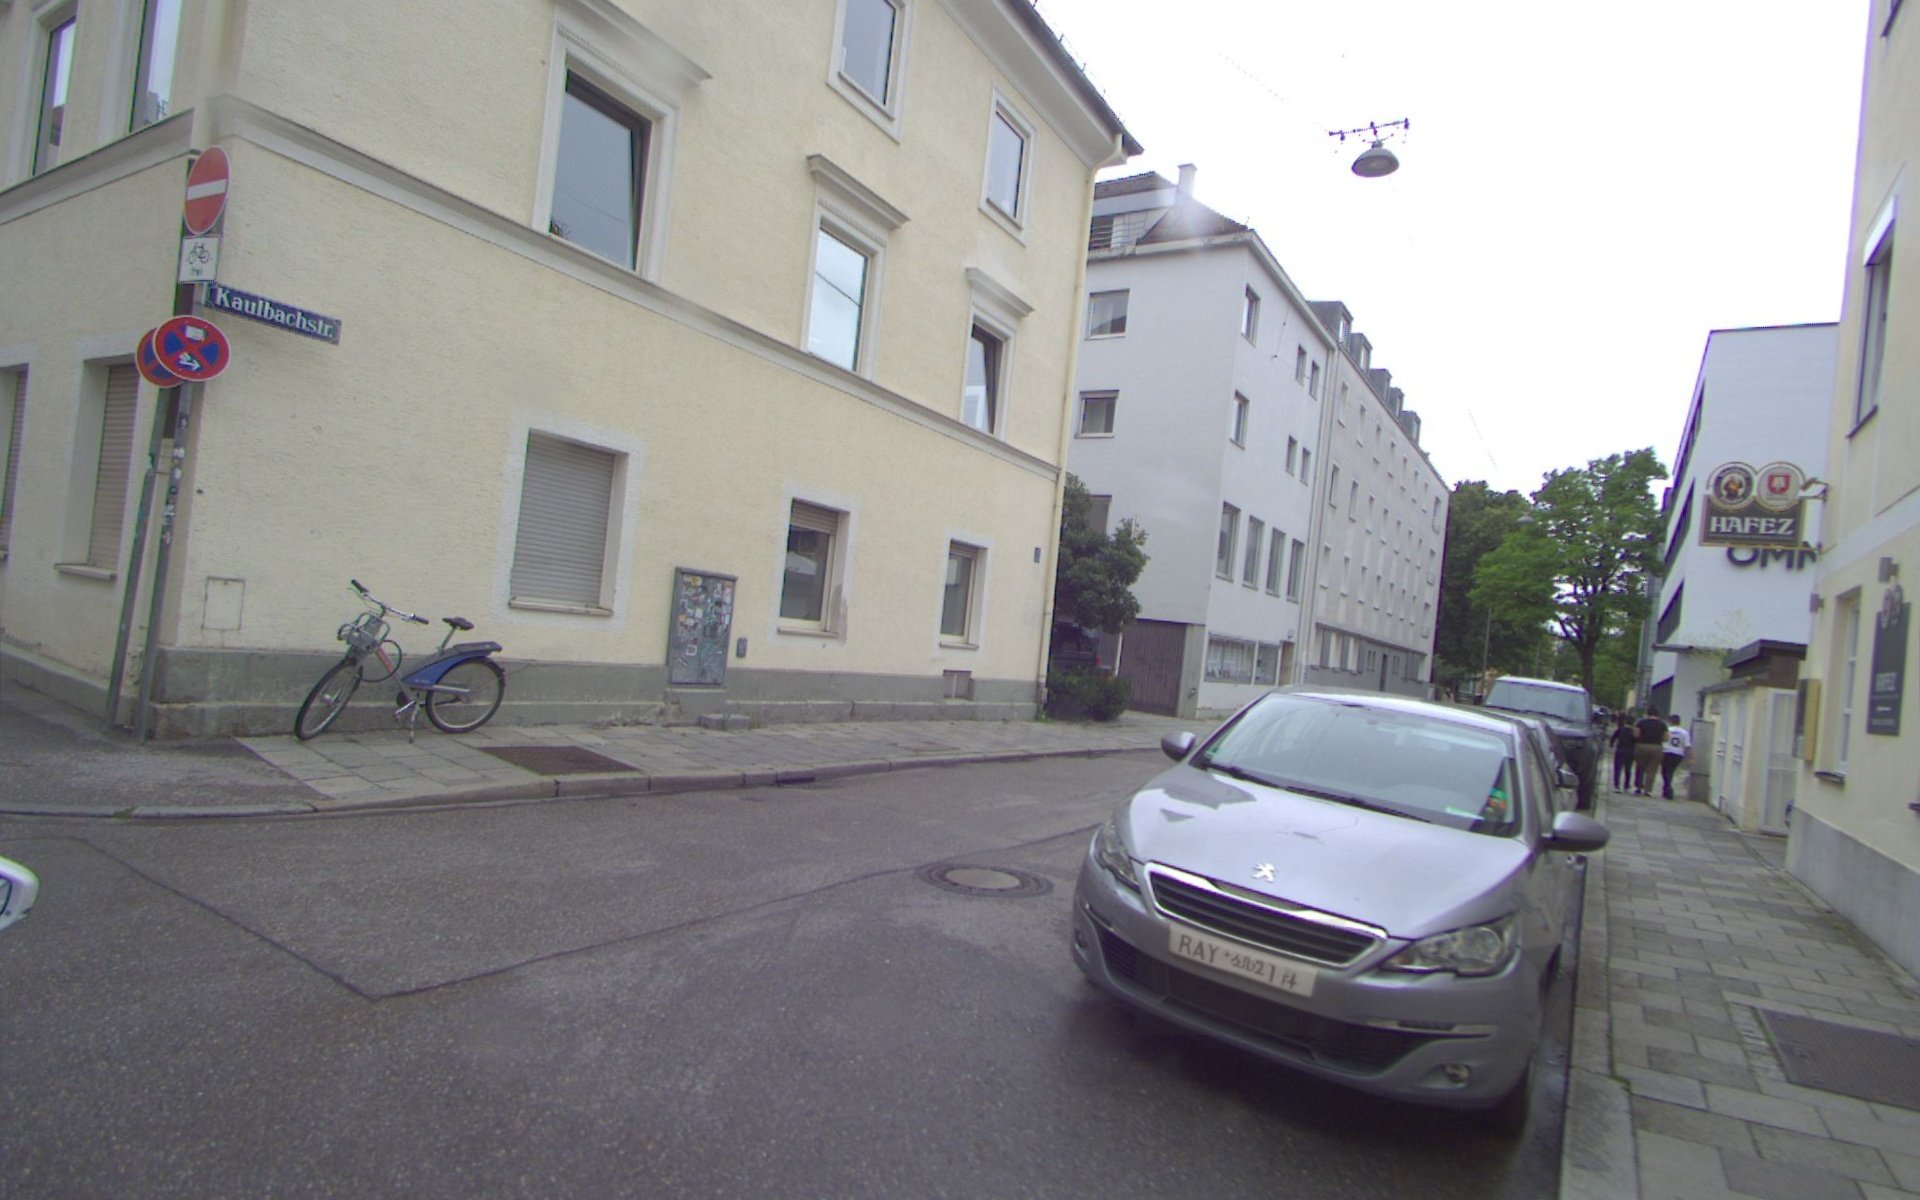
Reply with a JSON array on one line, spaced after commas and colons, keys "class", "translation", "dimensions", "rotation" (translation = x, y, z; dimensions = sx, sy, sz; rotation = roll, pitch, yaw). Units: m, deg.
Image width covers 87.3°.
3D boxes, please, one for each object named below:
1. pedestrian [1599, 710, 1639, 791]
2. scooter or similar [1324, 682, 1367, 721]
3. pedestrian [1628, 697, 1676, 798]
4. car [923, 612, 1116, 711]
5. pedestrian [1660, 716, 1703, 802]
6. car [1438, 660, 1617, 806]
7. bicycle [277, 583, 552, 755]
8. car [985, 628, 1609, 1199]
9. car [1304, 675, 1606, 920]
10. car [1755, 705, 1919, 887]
[{"class": "pedestrian", "translation": [12.170, 2.767, 18.582], "dimensions": [0.483, 1.385, 0.516], "rotation": [6, 0, 36]}, {"class": "scooter or similar", "translation": [13.458, 3.525, 35.080], "dimensions": [1.115, 1.176, 1.110], "rotation": [6, -1, 31]}, {"class": "pedestrian", "translation": [12.349, 2.614, 17.956], "dimensions": [0.550, 1.705, 0.516], "rotation": [6, 1, 36]}, {"class": "car", "translation": [1.253, 1.335, 22.145], "dimensions": [3.793, 1.703, 1.890], "rotation": [6, -2, -10]}, {"class": "pedestrian", "translation": [13.003, 2.851, 18.136], "dimensions": [0.483, 1.439, 0.516], "rotation": [6, 0, 36]}, {"class": "car", "translation": [9.912, 2.240, 17.375], "dimensions": [2.059, 1.867, 4.709], "rotation": [8, -1, 35]}, {"class": "bicycle", "translation": [-4.257, 0.551, 7.995], "dimensions": [0.576, 1.158, 1.759], "rotation": [9, 1, 33]}, {"class": "car", "translation": [2.015, 1.134, 4.942], "dimensions": [1.736, 1.458, 4.020], "rotation": [8, -1, 34]}, {"class": "car", "translation": [4.636, 1.590, 9.049], "dimensions": [1.736, 1.404, 4.191], "rotation": [8, -1, 34]}, {"class": "car", "translation": [10.876, 2.202, 10.350], "dimensions": [3.936, 1.670, 1.806], "rotation": [6, -2, 33]}]
